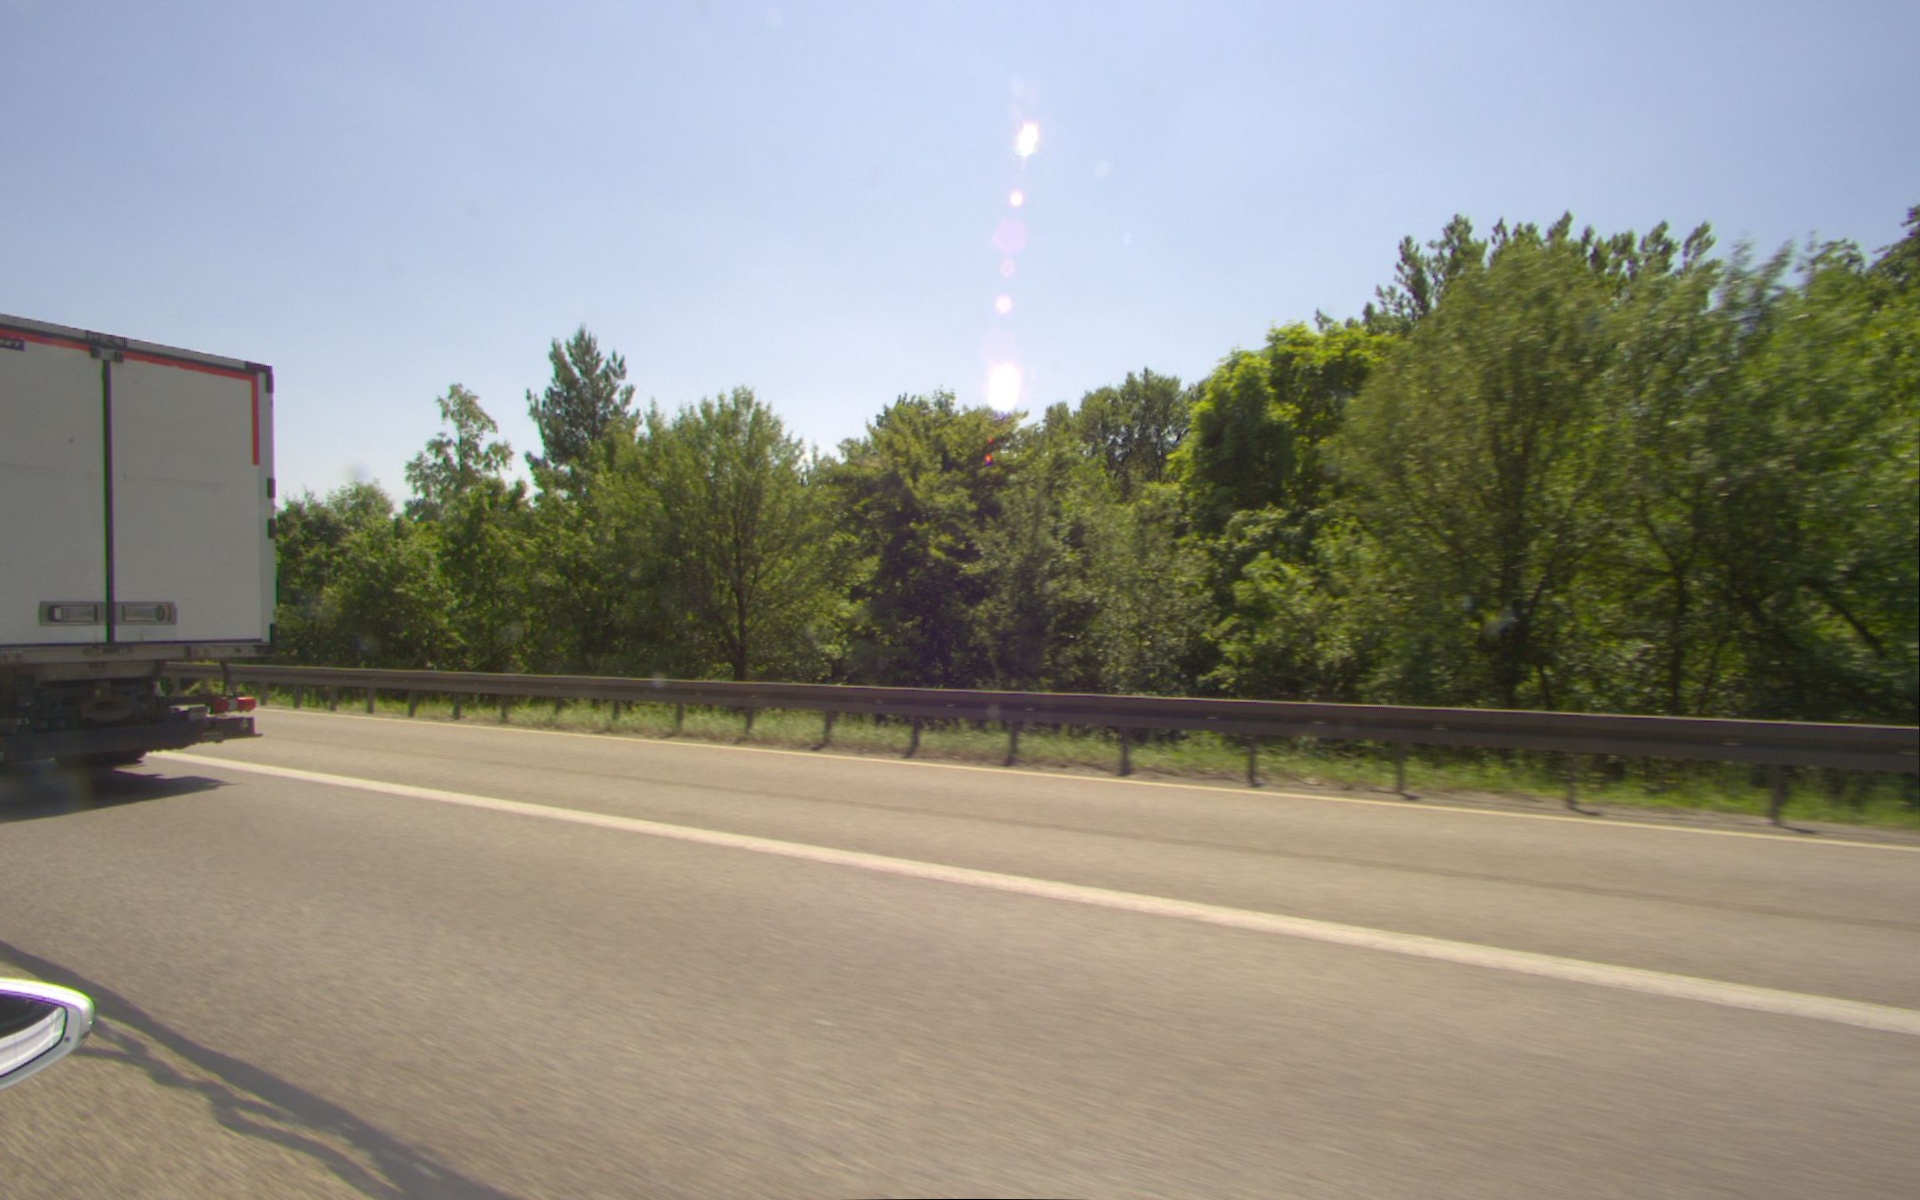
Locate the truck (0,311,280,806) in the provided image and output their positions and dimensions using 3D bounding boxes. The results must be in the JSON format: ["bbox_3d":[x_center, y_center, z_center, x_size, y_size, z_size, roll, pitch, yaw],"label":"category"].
[{"bbox_3d":[-11.346,-0.280,11.073,9.639,3.927,2.682,-1,0,32],"label":"truck"}]
